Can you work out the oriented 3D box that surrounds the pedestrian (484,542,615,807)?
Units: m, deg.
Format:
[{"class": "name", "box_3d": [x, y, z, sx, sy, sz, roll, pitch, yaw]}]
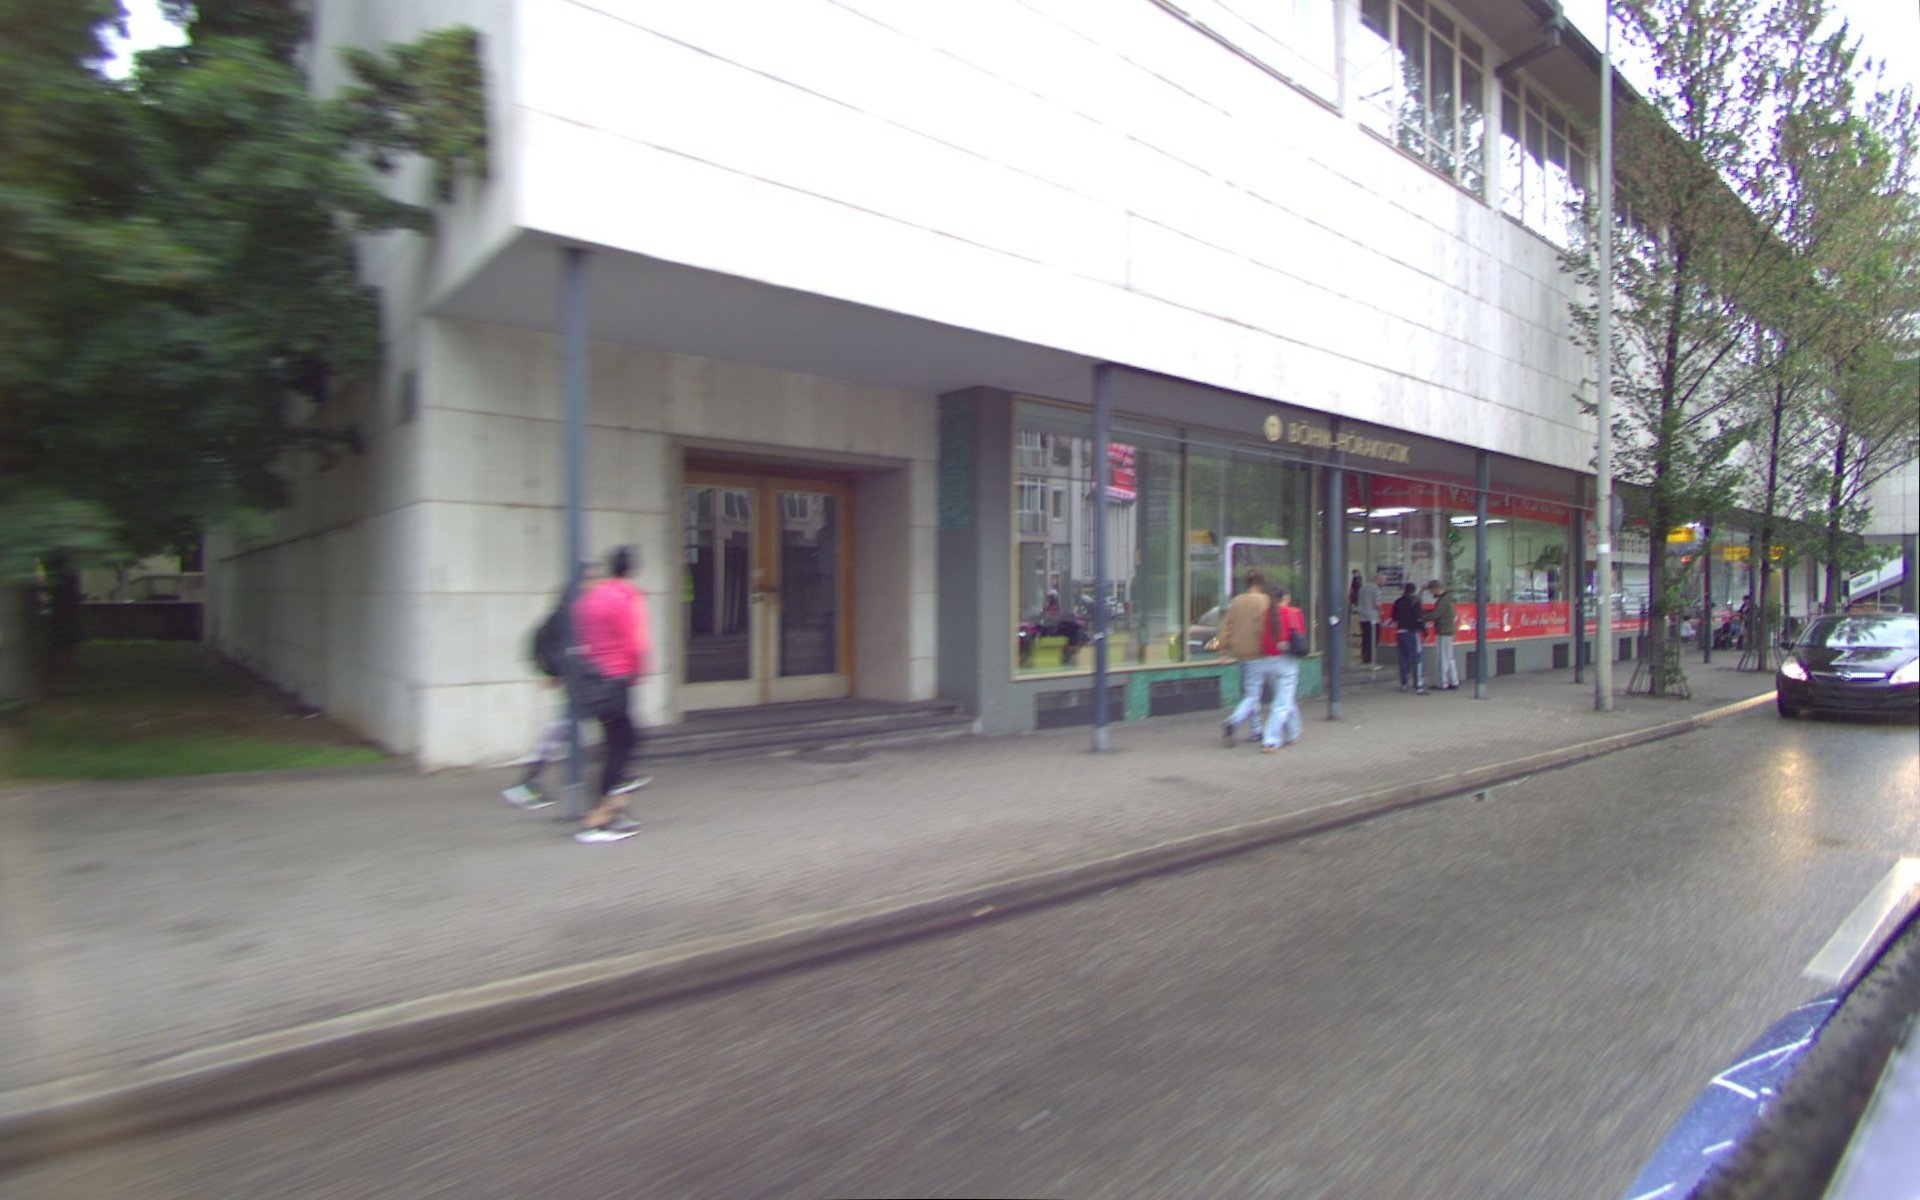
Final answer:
[{"class": "pedestrian", "box_3d": [-2.686, 0.442, 6.609, 0.596, 1.609, 0.727, 0, 1, -40]}]

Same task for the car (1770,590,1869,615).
[{"class": "car", "box_3d": [50.693, 0.138, 59.756, 1.756, 1.438, 4.267, -1, 1, -40]}]

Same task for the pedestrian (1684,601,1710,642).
[{"class": "pedestrian", "box_3d": [20.756, 0.600, 28.516, 0.424, 1.150, 0.507, 0, 0, 15]}]

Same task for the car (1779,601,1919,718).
[{"class": "car", "box_3d": [13.267, 0.769, 14.466, 3.675, 1.475, 1.712, 1, -1, -39]}]

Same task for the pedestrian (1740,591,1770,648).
[{"class": "pedestrian", "box_3d": [22.514, 0.544, 28.661, 0.501, 1.586, 0.430, 0, 0, 6]}]

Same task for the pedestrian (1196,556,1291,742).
[{"class": "pedestrian", "box_3d": [2.901, 0.466, 10.358, 0.596, 1.824, 0.699, 0, 1, -40]}]

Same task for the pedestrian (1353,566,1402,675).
[{"class": "pedestrian", "box_3d": [6.813, 0.324, 16.517, 0.524, 1.740, 0.538, 0, 0, -30]}]

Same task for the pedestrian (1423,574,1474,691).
[{"class": "pedestrian", "box_3d": [7.857, 0.507, 16.287, 0.524, 1.843, 0.538, 0, 0, -31]}]

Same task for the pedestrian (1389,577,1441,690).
[{"class": "pedestrian", "box_3d": [7.121, 0.509, 15.836, 0.524, 1.740, 0.538, 0, 0, -31]}]

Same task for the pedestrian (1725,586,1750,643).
[{"class": "pedestrian", "box_3d": [21.869, 0.407, 28.453, 0.500, 1.586, 0.430, 0, 0, -36]}]

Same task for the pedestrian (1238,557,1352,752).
[{"class": "pedestrian", "box_3d": [3.261, 0.491, 9.852, 0.906, 1.789, 0.655, 0, 1, -40]}]

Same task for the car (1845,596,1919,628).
[{"class": "car", "box_3d": [47.235, 0.593, 50.687, 1.959, 1.495, 4.006, -2, 0, -9]}]

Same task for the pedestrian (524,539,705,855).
[{"class": "pedestrian", "box_3d": [-1.969, 0.491, 5.754, 0.756, 1.640, 0.718, 0, 1, -40]}]

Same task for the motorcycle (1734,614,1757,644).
[{"class": "motorcycle", "box_3d": [22.251, 0.807, 28.666, 0.904, 0.814, 0.325, 1, 0, -40]}]

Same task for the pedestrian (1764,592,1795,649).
[{"class": "pedestrian", "box_3d": [23.093, 0.580, 28.533, 0.500, 1.586, 0.430, 0, 0, 5]}]
